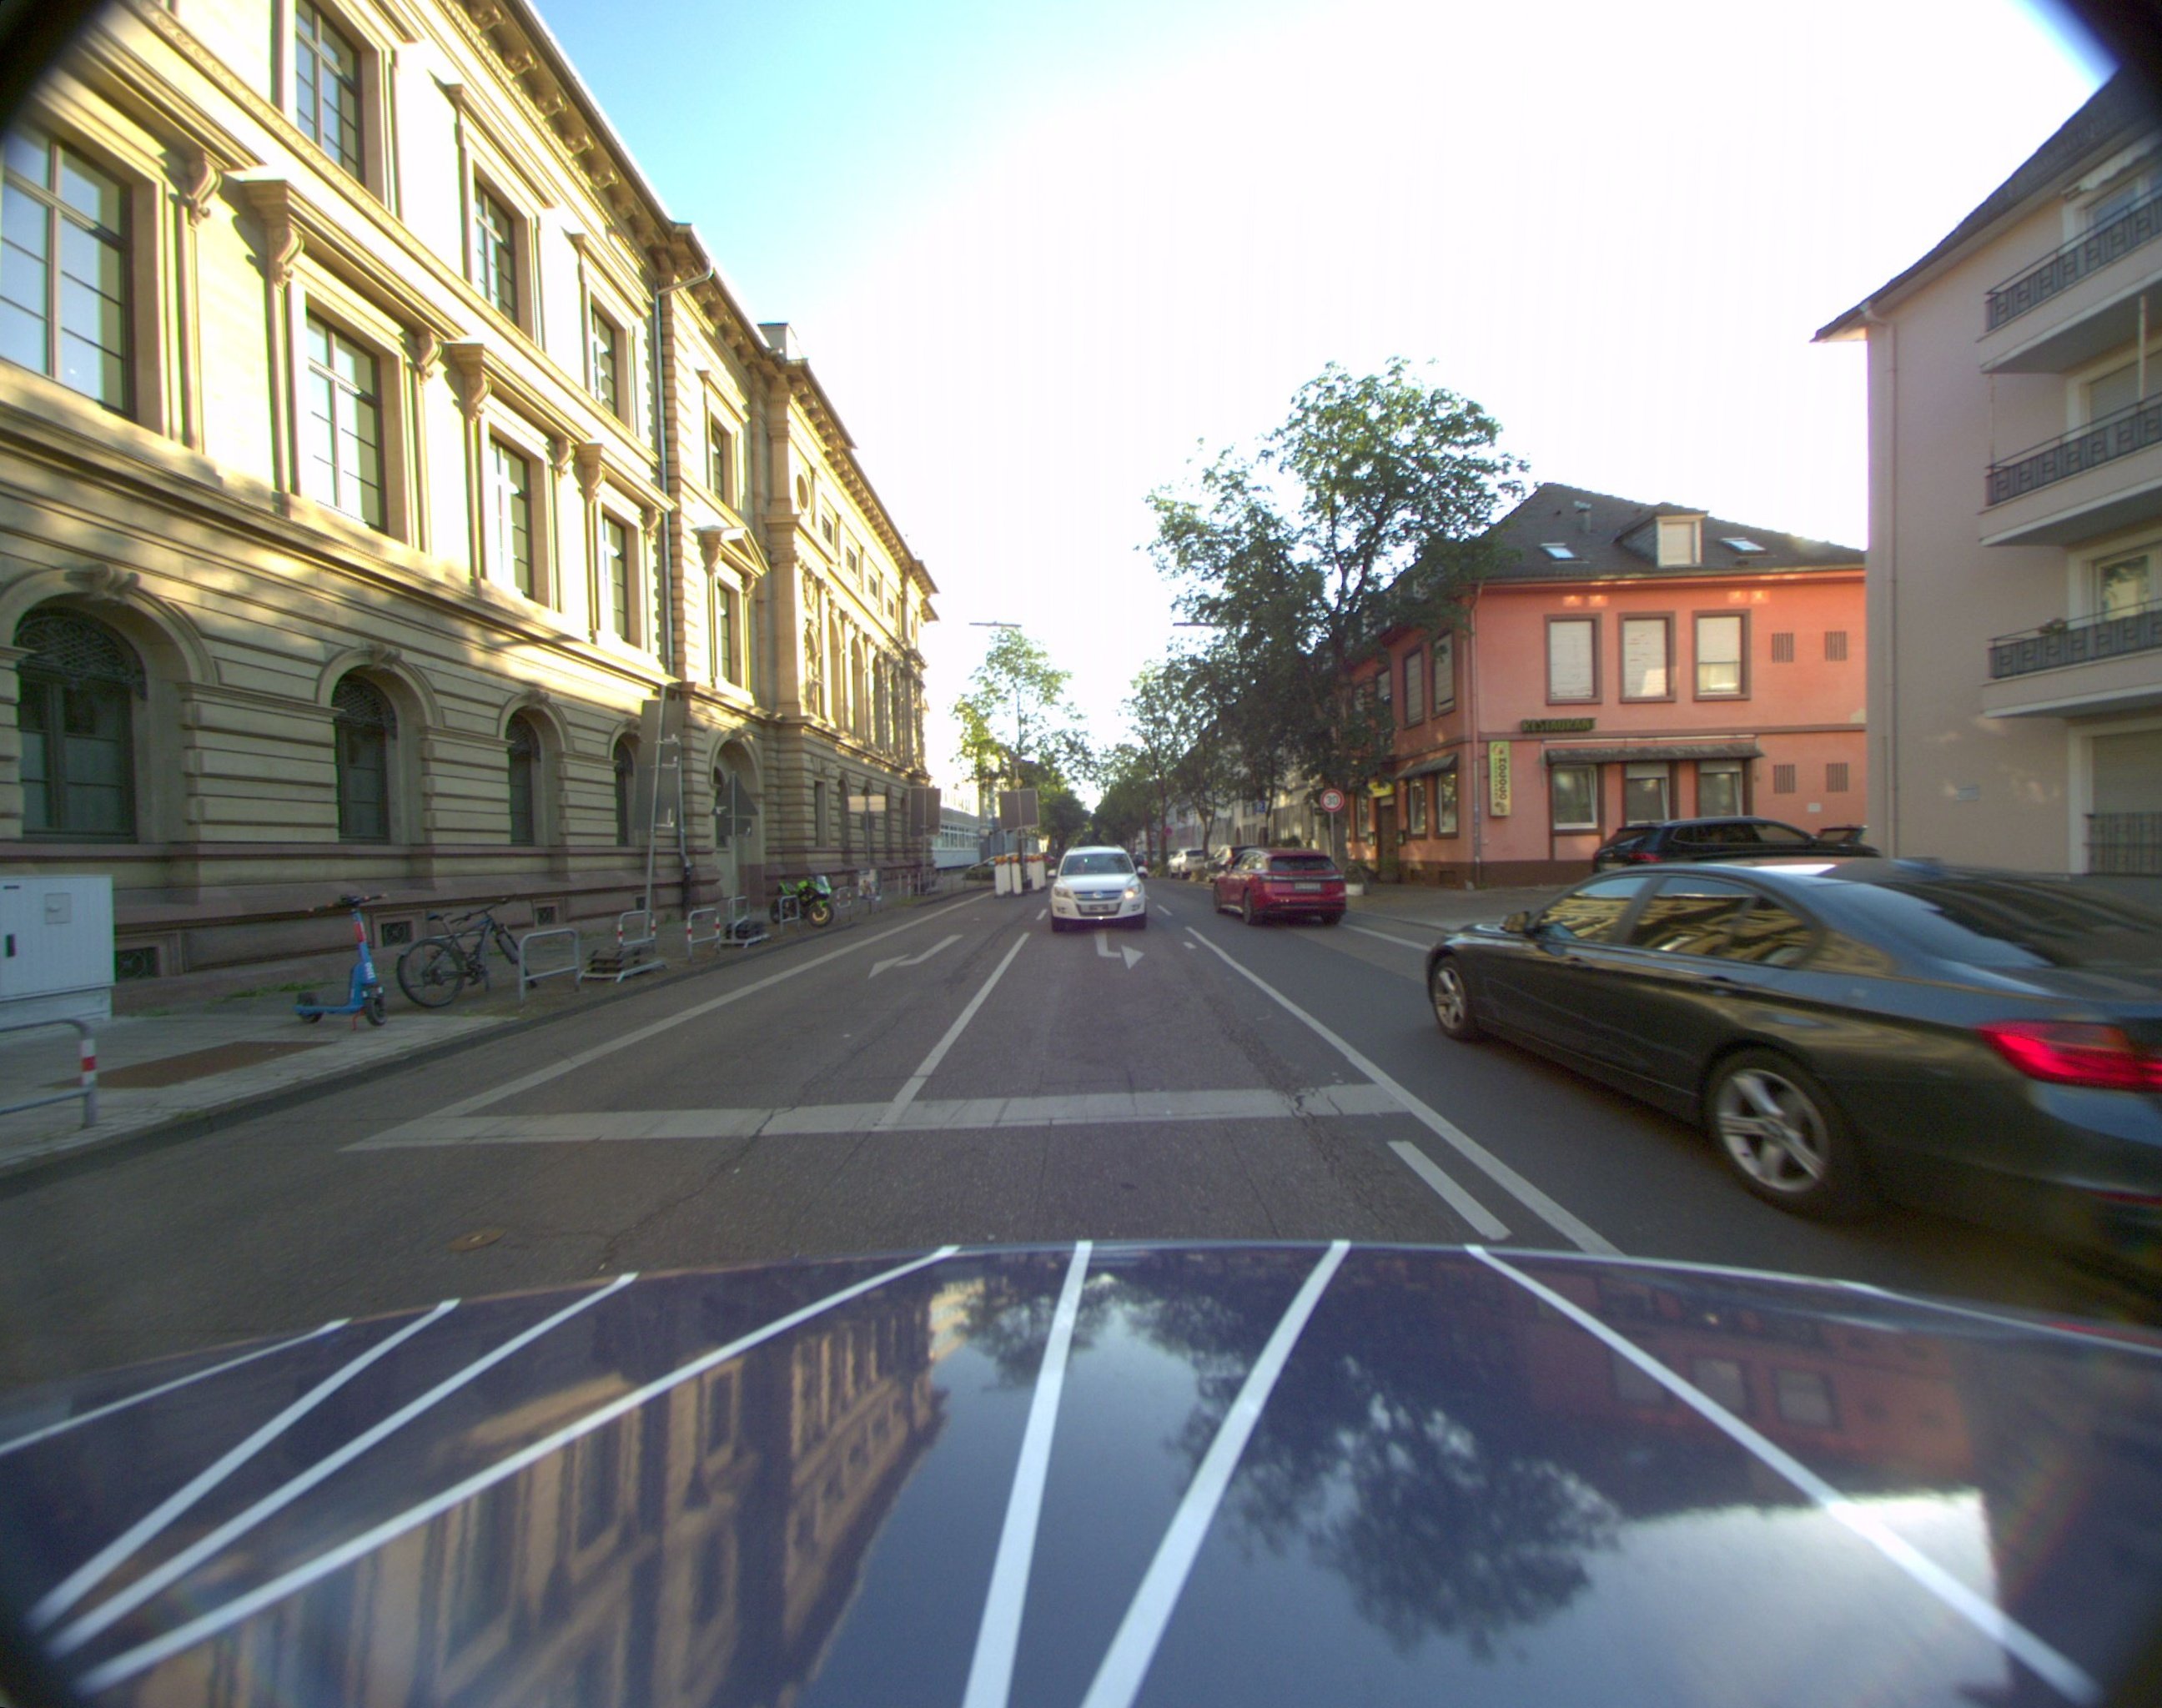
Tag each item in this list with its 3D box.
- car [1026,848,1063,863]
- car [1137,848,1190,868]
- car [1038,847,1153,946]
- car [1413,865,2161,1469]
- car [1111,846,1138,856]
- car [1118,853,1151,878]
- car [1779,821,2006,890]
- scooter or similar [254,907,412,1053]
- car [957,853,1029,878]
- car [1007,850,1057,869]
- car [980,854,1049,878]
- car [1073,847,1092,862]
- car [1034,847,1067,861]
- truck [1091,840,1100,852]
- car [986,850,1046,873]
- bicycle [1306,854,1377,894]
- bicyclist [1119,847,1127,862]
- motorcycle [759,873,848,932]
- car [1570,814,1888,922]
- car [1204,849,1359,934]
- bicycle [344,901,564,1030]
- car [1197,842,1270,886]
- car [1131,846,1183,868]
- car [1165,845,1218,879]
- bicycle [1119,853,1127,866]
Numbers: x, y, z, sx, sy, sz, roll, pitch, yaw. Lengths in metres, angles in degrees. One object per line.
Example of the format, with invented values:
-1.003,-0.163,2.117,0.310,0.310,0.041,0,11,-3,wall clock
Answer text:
-4.289,0.174,90.378,4.369,1.768,1.733,0,1,-2,car
6.799,0.317,62.633,4.228,1.536,1.801,-2,1,3,car
0.288,0.725,15.491,1.957,1.667,4.542,-2,1,1,car
3.683,0.860,4.204,1.786,1.451,4.422,-1,1,0,car
7.182,-0.496,125.697,4.230,1.468,1.969,-2,1,-2,car
3.237,0.676,46.492,1.662,1.463,3.853,-1,0,-1,car
20.491,0.029,19.312,3.809,1.546,1.886,-2,1,-2,car
-6.950,1.132,7.069,1.131,1.188,0.584,1,2,19,scooter or similar
-5.456,0.681,47.451,4.369,1.456,1.833,1,1,-3,car
-4.284,0.449,67.459,4.369,1.615,1.733,0,1,-2,car
-4.369,0.761,50.073,4.368,1.487,1.672,1,1,0,car
0.177,0.023,83.601,1.951,1.546,3.999,-2,0,-1,car
-4.066,0.008,102.018,4.368,1.863,1.733,-1,1,-2,car
5.024,-2.774,259.912,2.748,3.723,7.855,-2,1,2,truck
-4.795,0.552,56.539,4.369,1.633,2.054,1,1,-2,car
7.641,0.575,22.330,1.872,1.098,0.610,-2,1,-6,bicycle
3.863,0.016,69.561,0.626,1.357,0.929,-2,2,1,bicyclist
-6.282,1.062,17.140,2.098,1.208,0.711,1,1,30,motorcycle
12.153,0.248,14.466,4.429,1.655,1.863,-3,1,-1,car
4.083,0.694,16.389,1.836,1.536,4.846,-1,0,-3,car
-6.875,1.164,8.500,0.829,1.128,1.944,1,1,1,bicycle
6.992,0.423,35.459,1.833,1.749,5.045,-6,1,-5,car
6.504,0.241,65.369,4.230,1.680,1.800,-2,1,-2,car
6.288,0.417,43.895,1.833,1.659,4.653,-6,1,-5,car
3.877,0.498,69.646,0.626,1.149,2.052,-2,2,1,bicycle
